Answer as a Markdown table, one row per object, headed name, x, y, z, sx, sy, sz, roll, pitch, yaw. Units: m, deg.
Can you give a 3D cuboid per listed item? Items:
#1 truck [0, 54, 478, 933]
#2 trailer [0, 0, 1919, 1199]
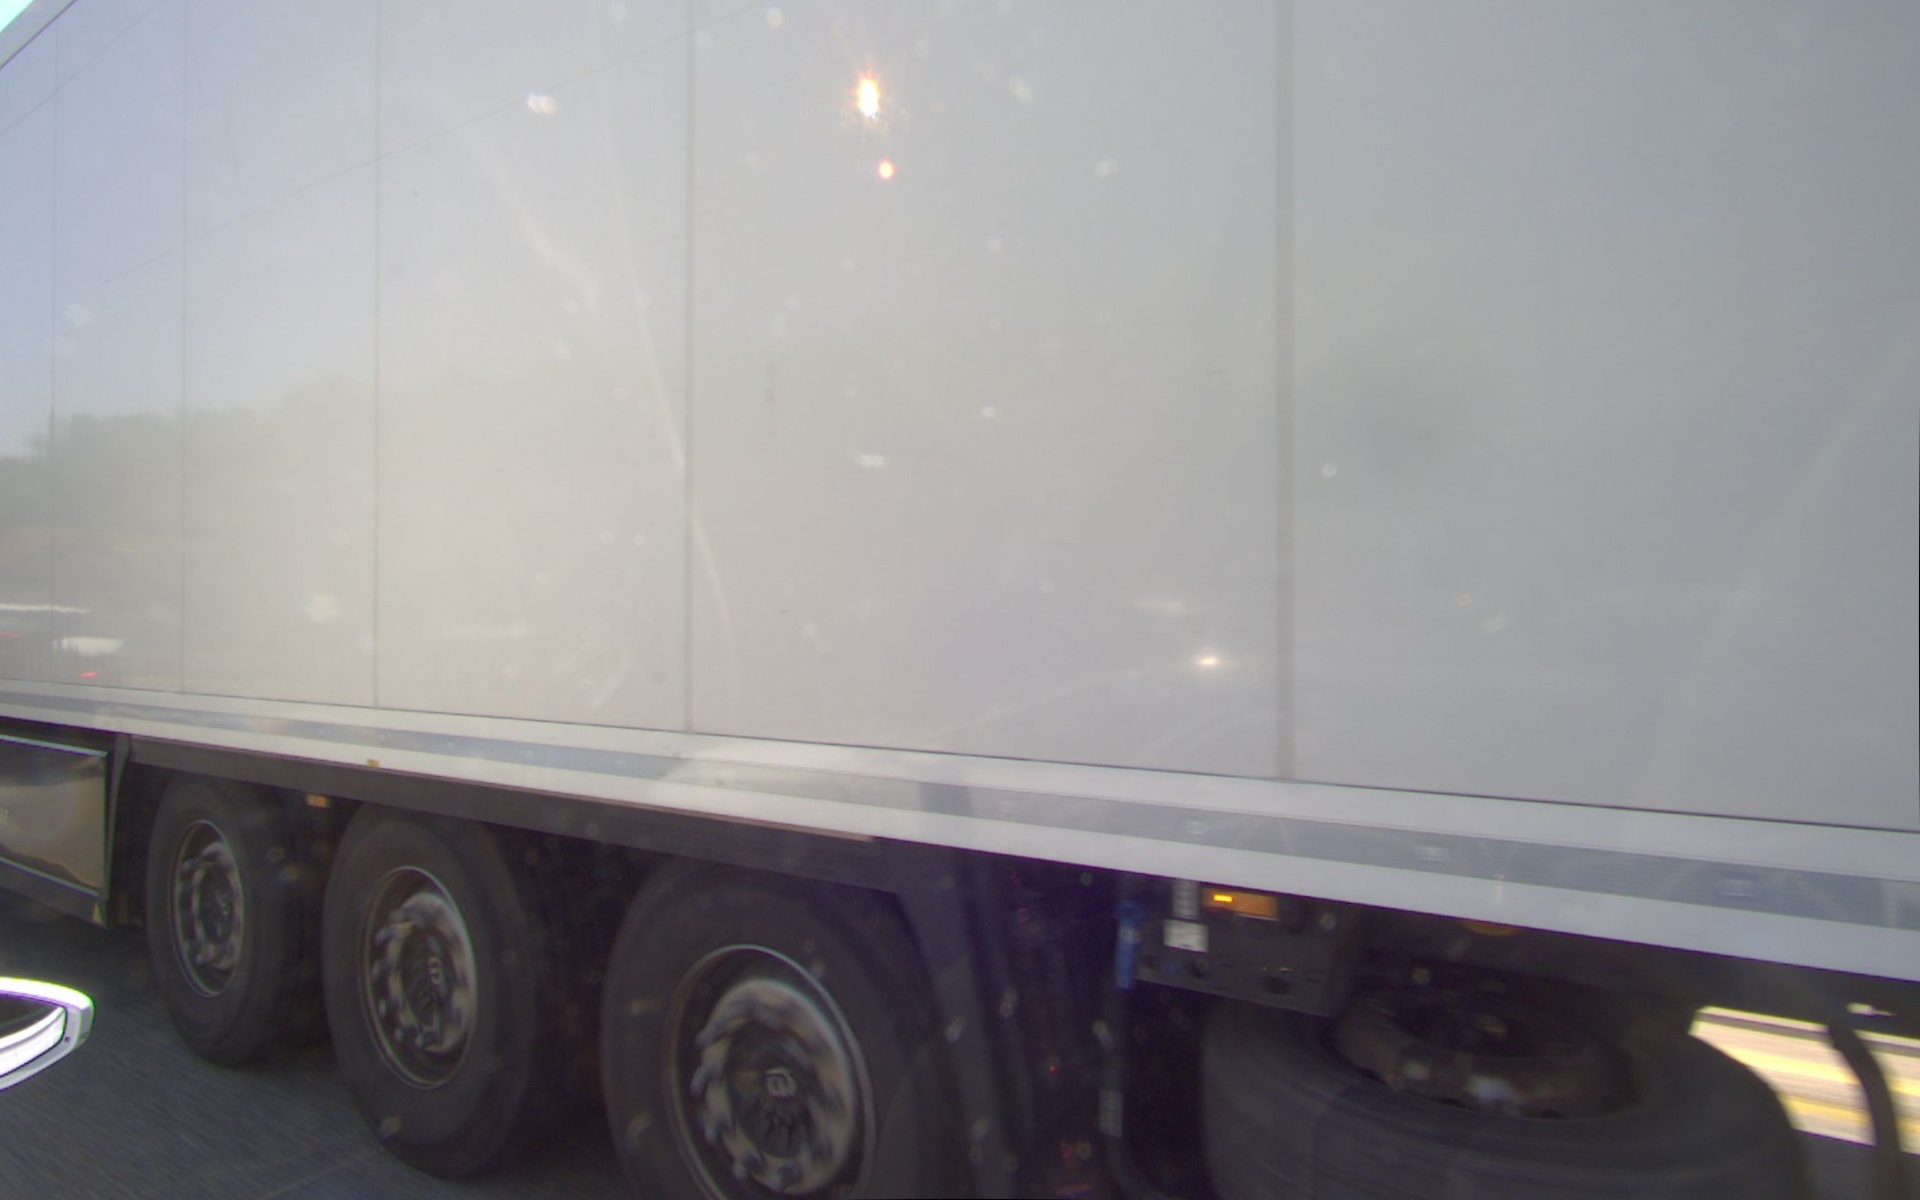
| name | x | y | z | sx | sy | sz | roll | pitch | yaw |
| --- | --- | --- | --- | --- | --- | --- | --- | --- | --- |
| truck | -7.320 | -0.376 | 7.743 | 8.119 | 4.076 | 2.510 | -1 | -2 | 32 |
| trailer | -1.575 | -0.618 | 4.138 | 11.382 | 4.179 | 2.528 | -1 | -2 | 32 |
